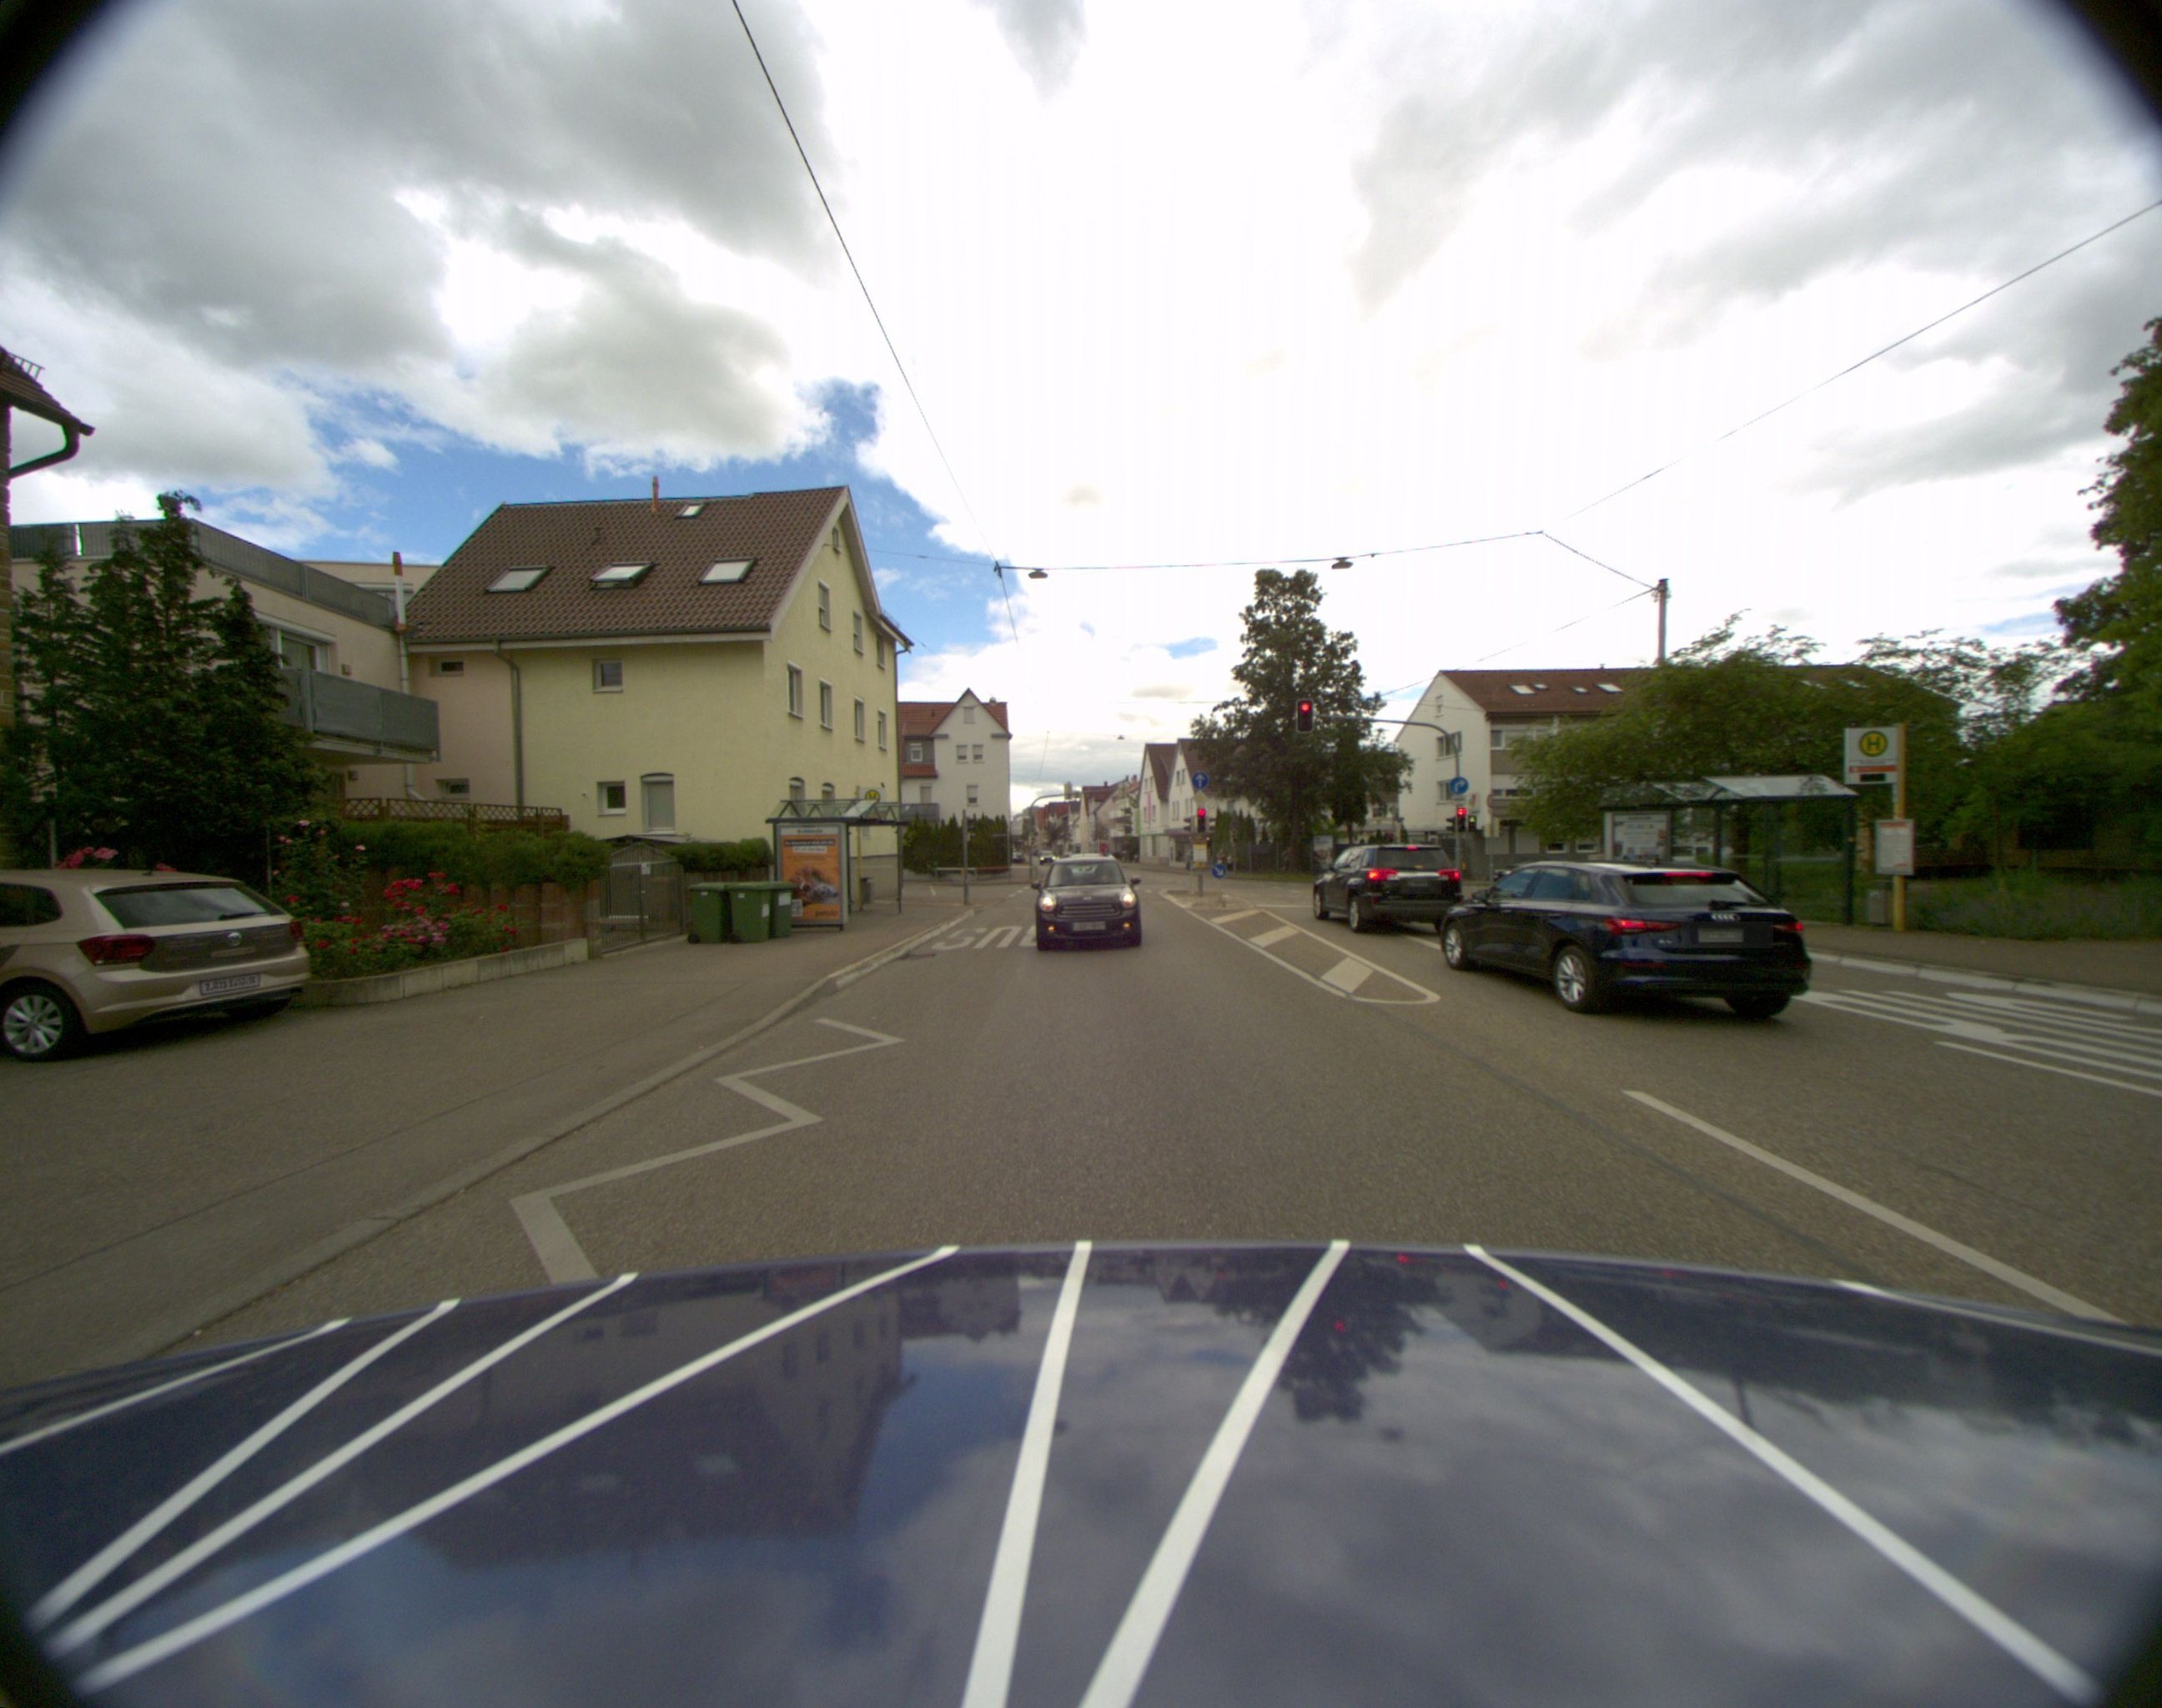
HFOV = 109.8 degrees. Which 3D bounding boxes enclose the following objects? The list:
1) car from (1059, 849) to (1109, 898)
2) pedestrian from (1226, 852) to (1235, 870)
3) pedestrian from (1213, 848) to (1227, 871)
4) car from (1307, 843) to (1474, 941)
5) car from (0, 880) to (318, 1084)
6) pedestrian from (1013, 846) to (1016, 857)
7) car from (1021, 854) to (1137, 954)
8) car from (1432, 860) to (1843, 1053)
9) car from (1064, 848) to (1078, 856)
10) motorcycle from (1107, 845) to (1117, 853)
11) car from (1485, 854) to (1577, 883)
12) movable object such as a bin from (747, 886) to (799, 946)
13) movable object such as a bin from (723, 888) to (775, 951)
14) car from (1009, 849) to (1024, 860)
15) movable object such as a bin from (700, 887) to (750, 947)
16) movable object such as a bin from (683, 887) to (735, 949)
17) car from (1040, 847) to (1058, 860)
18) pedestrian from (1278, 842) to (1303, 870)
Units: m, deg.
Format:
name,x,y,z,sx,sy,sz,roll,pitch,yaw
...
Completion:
name,x,y,z,sx,sy,sz,roll,pitch,yaw
car,0.124,0.697,30.205,1.811,1.556,4.616,-2,3,0
pedestrian,10.450,0.483,53.232,0.383,1.255,0.549,-3,2,-17
pedestrian,9.753,0.359,53.317,0.642,1.596,0.865,-3,2,-17
car,6.078,0.627,15.542,1.762,1.626,4.595,1,2,4
car,-9.209,0.975,6.408,3.813,1.394,1.640,1,2,-1
pedestrian,-10.384,-0.368,118.491,0.497,1.744,0.451,-1,1,-6
car,0.113,0.799,13.956,1.693,1.506,4.001,-2,0,5
car,5.413,0.849,8.180,1.567,1.412,4.130,-1,2,3
car,-1.678,-0.343,123.107,1.635,1.404,3.996,0,1,-10
motorcycle,4.612,-0.719,112.635,1.430,1.017,0.525,-3,2,-7
car,22.933,0.730,38.840,3.642,1.390,1.772,0,1,1
movable object such as a bin,-5.799,1.155,14.312,0.636,1.040,0.592,-2,2,29
movable object such as a bin,-5.895,1.154,13.531,0.638,1.040,0.585,-3,2,-4
car,-9.697,0.121,114.210,1.847,1.510,3.996,-3,1,-8
movable object such as a bin,-6.634,1.161,14.182,0.638,1.040,0.585,-1,2,-4
movable object such as a bin,-6.608,1.126,13.523,0.638,1.040,0.585,-1,2,-4
car,-3.996,-0.055,94.404,1.847,1.510,3.997,-3,1,-6
pedestrian,13.269,0.146,48.134,0.825,1.744,1.226,-4,2,-42
